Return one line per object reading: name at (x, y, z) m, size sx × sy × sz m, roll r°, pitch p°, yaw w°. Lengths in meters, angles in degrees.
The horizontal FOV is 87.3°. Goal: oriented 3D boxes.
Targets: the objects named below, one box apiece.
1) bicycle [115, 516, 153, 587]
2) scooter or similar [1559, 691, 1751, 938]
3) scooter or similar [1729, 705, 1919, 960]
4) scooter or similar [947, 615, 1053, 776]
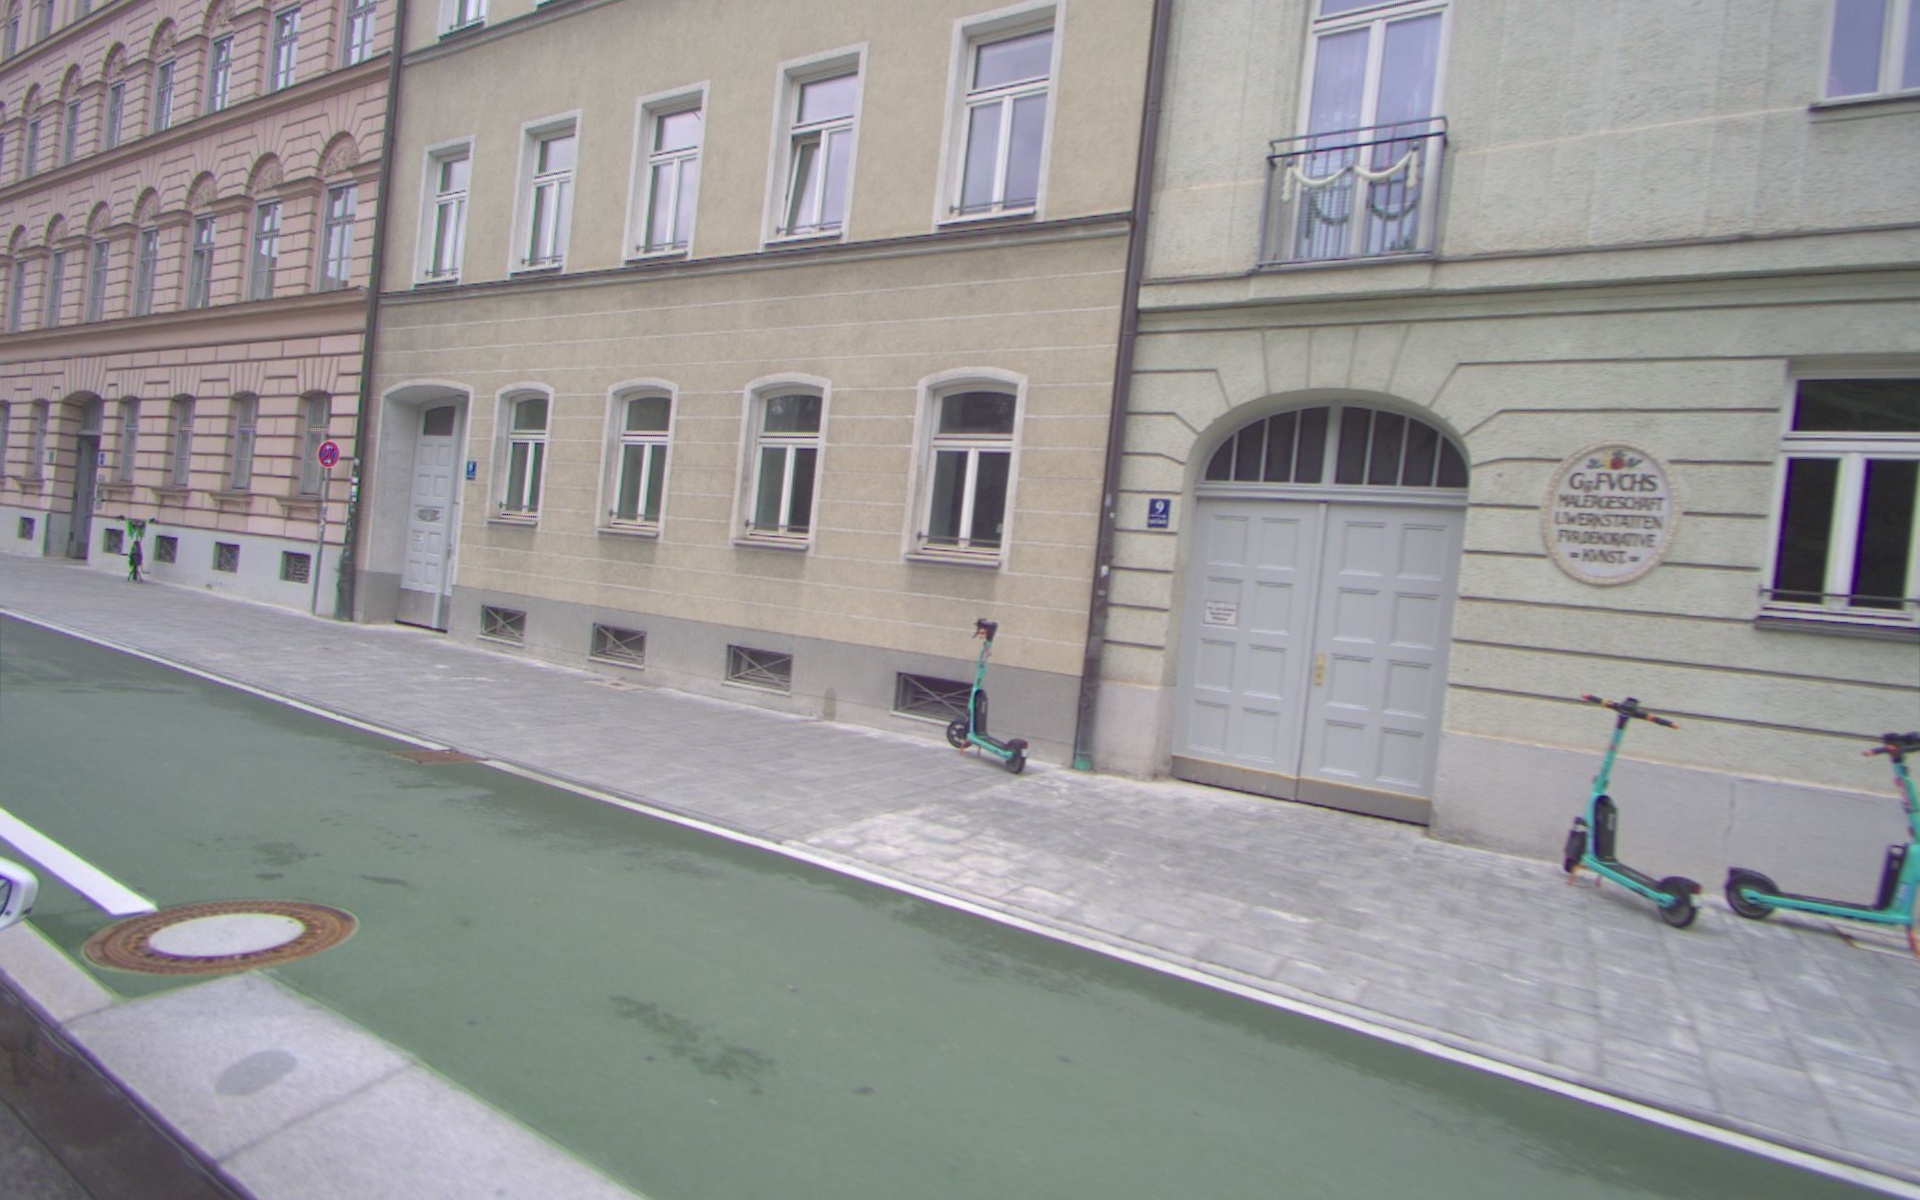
bicycle at (-15.179, -0.913, 18.482) m, size 0.424 × 1.189 × 1.711 m, roll 4°, pitch 2°, yaw -41°
scooter or similar at (4.208, 1.249, 6.173) m, size 0.242 × 1.247 × 1.118 m, roll 5°, pitch 2°, yaw -1°
scooter or similar at (5.278, 1.342, 5.867) m, size 1.101 × 1.290 × 0.387 m, roll 6°, pitch 3°, yaw 31°
scooter or similar at (0.329, 0.806, 8.826) m, size 0.244 × 1.247 × 1.109 m, roll 3°, pitch 3°, yaw -32°
